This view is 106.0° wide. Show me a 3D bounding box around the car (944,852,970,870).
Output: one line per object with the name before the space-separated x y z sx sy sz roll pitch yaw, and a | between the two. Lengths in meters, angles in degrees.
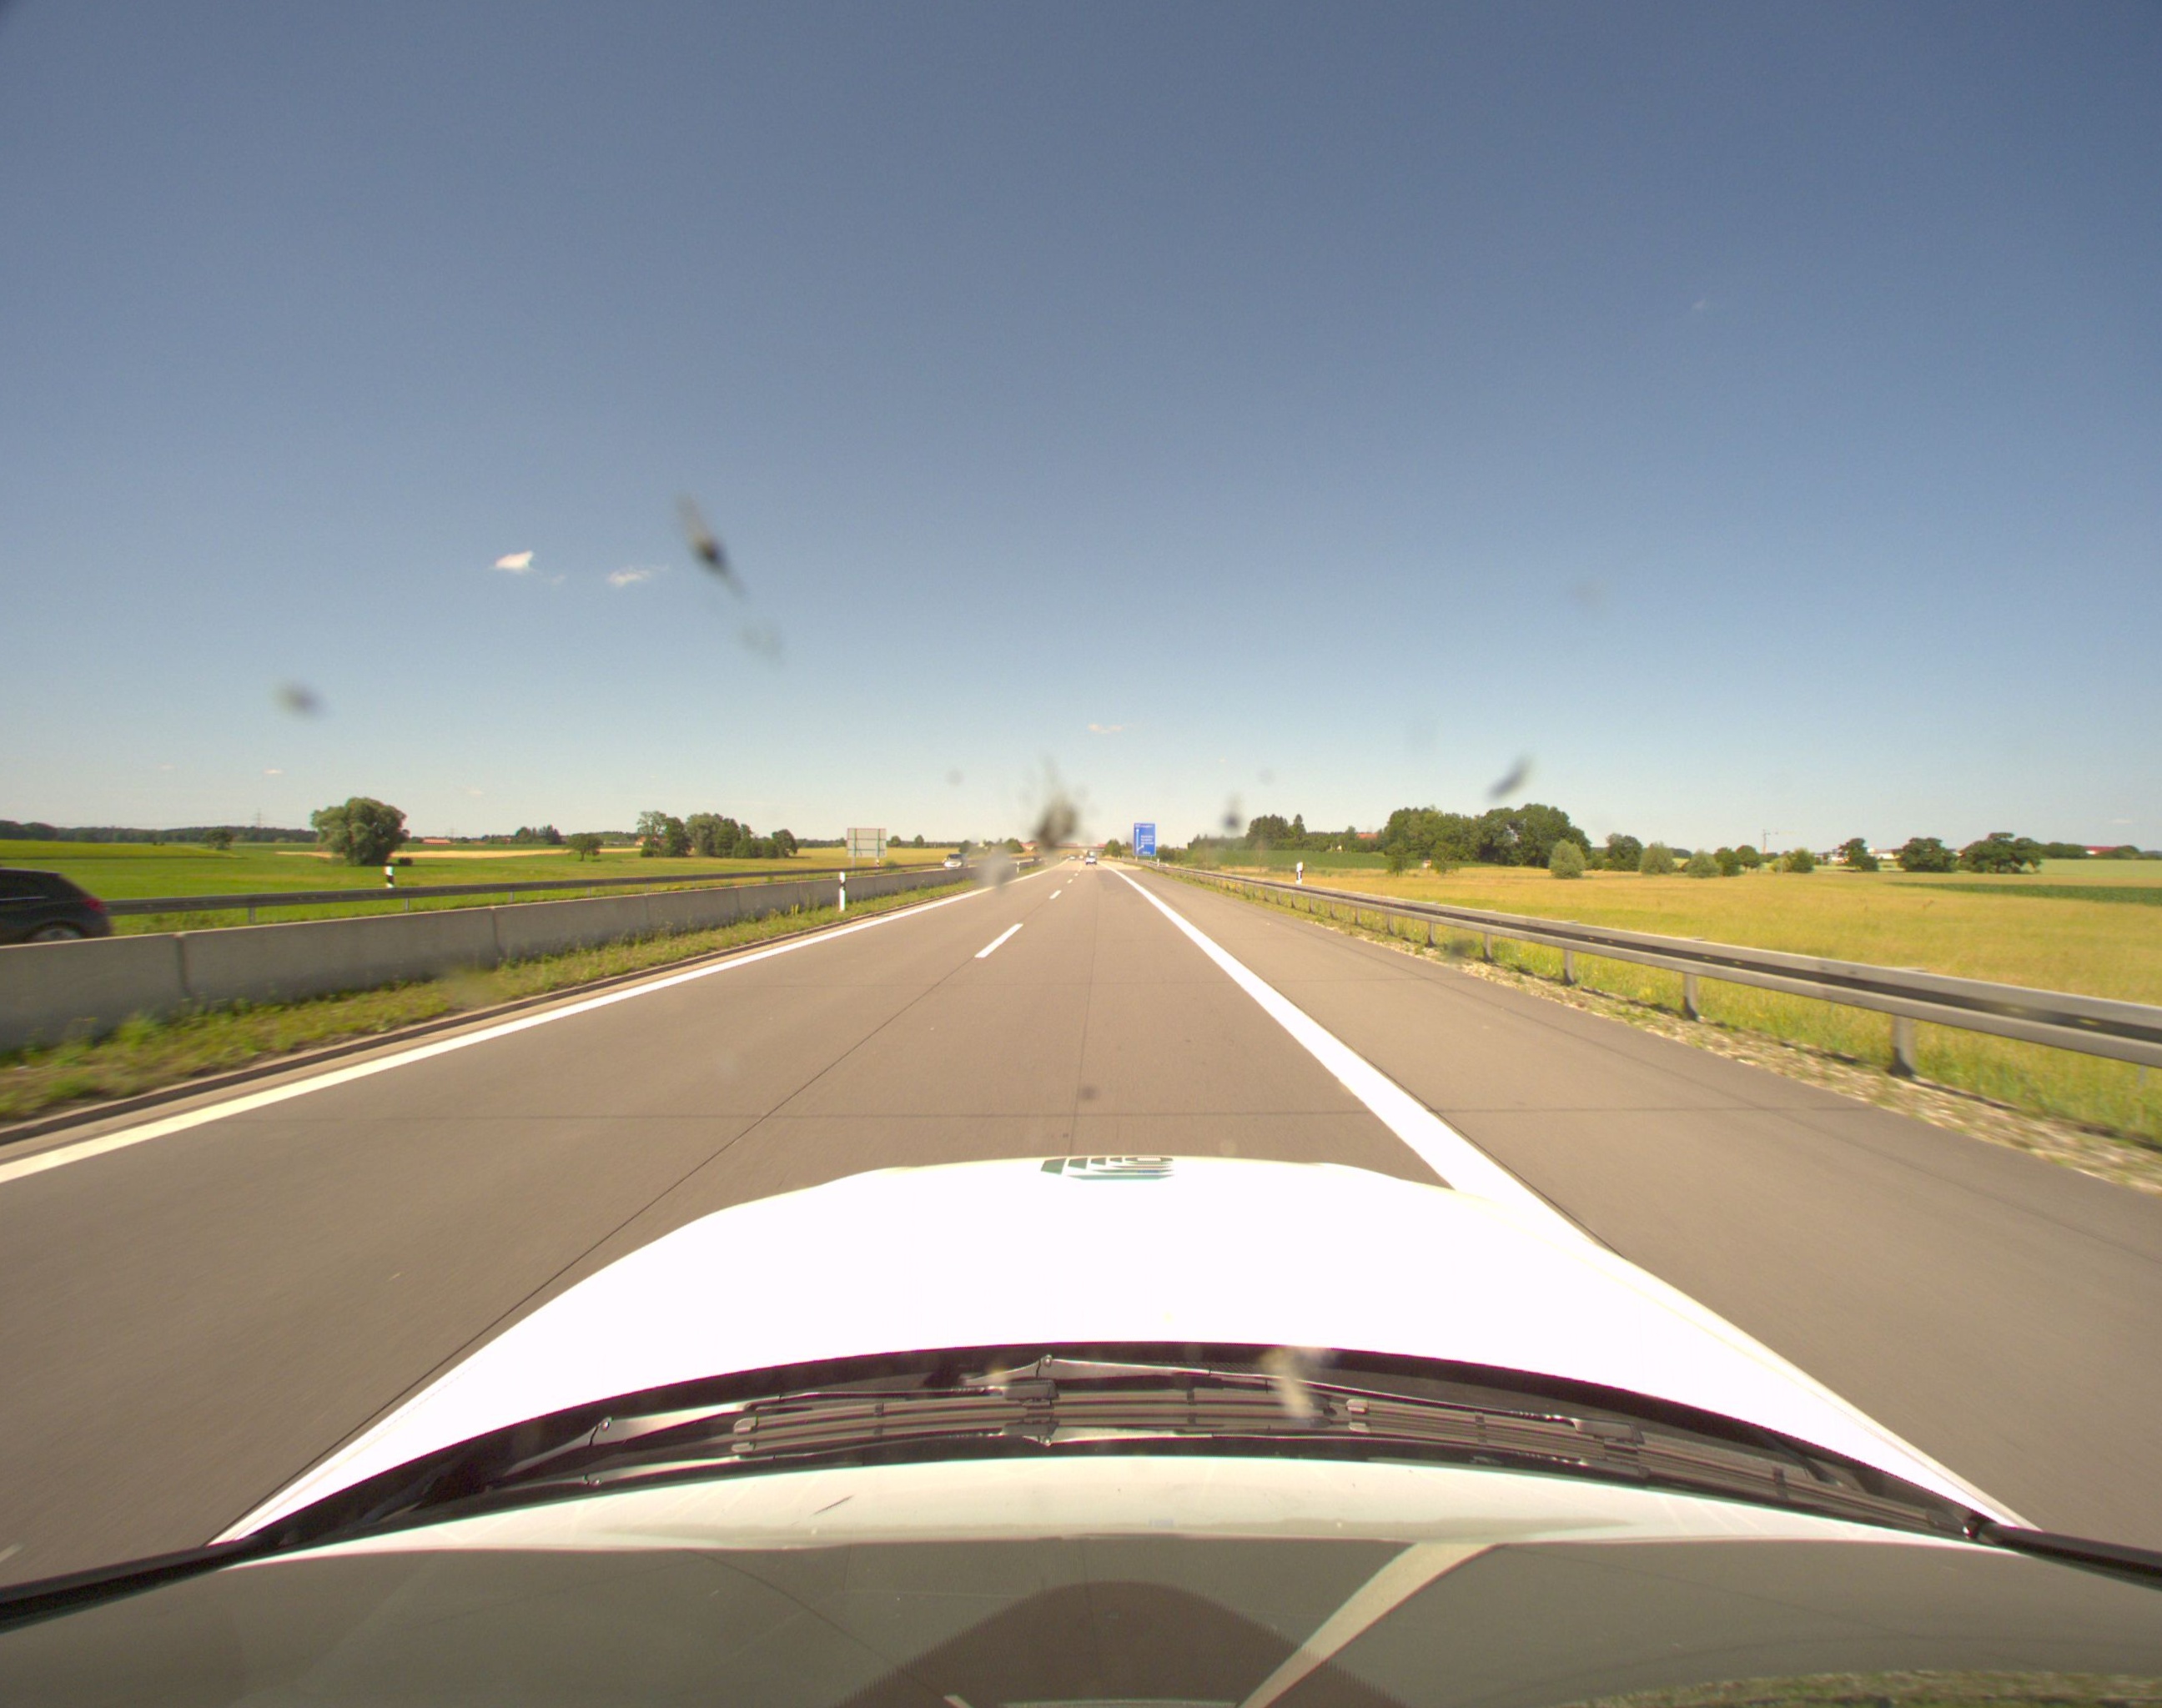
car | -13.174 0.756 86.816 1.947 1.842 5.449 -1 0 0

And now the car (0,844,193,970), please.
car | -14.606 0.690 10.052 1.852 1.584 4.914 -1 0 0

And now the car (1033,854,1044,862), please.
car | -8.461 0.759 161.018 1.891 1.523 4.806 -1 0 0

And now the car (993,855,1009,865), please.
car | -12.684 0.953 129.403 1.891 1.523 4.806 -1 0 0

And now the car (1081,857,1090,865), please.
car | 1.050 1.606 190.790 1.986 1.731 4.869 0 0 1

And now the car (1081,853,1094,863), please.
car | 1.140 0.720 138.971 1.988 1.731 4.866 0 0 -1
